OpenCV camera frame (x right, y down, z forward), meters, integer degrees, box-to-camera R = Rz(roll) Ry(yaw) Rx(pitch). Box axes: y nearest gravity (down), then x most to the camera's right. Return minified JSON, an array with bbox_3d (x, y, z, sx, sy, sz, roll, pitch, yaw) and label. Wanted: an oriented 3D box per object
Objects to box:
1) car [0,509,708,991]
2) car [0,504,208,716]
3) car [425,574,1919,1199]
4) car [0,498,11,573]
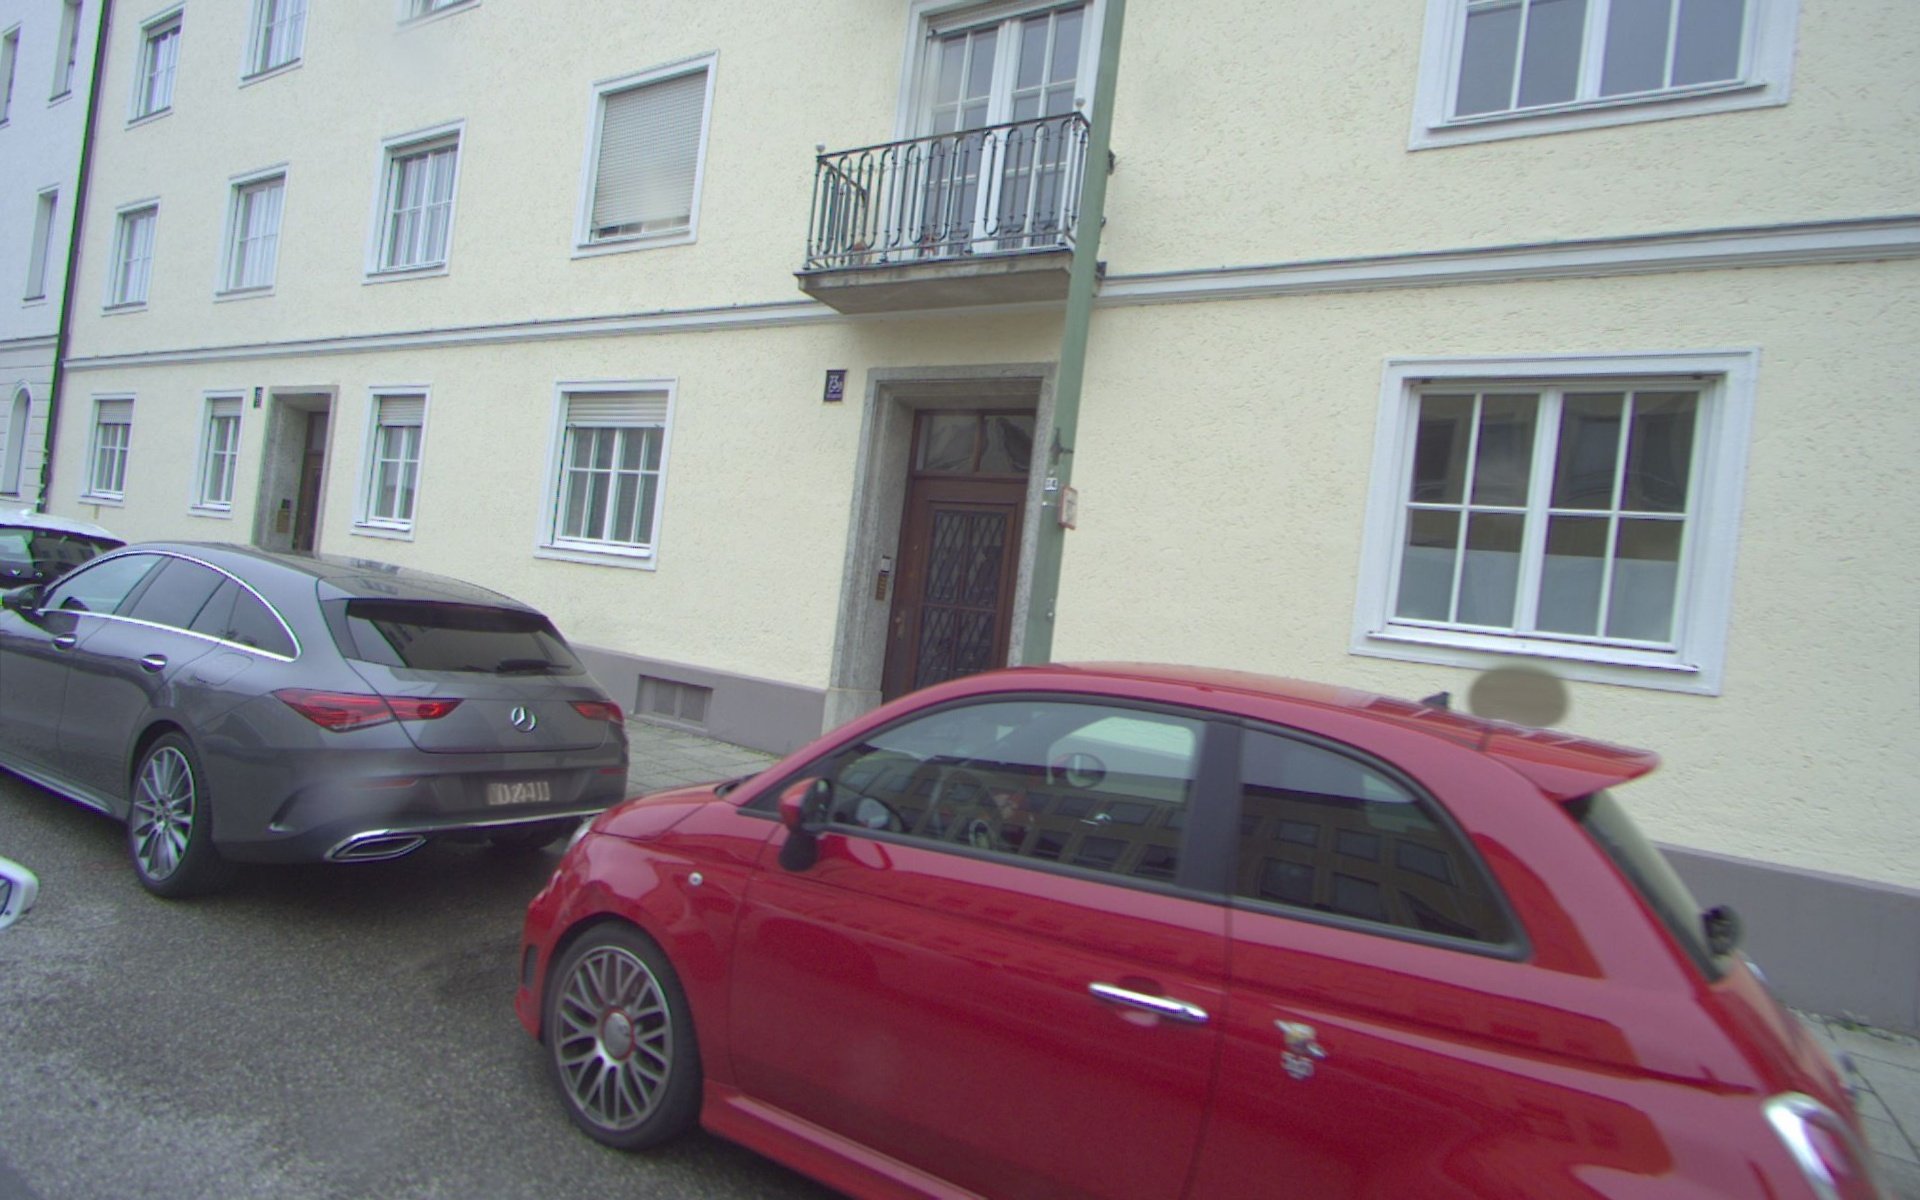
[{"bbox_3d":[-3.712,0.463,5.357,4.537,1.446,1.777,7,-2,31],"label":"car"},{"bbox_3d":[-8.328,-0.109,8.352,4.221,1.446,1.729,7,-2,31],"label":"car"},{"bbox_3d":[0.439,0.919,2.870,3.693,1.446,1.659,7,-2,31],"label":"car"},{"bbox_3d":[-12.347,-0.601,10.989,3.925,1.561,1.655,7,-2,29],"label":"car"}]
